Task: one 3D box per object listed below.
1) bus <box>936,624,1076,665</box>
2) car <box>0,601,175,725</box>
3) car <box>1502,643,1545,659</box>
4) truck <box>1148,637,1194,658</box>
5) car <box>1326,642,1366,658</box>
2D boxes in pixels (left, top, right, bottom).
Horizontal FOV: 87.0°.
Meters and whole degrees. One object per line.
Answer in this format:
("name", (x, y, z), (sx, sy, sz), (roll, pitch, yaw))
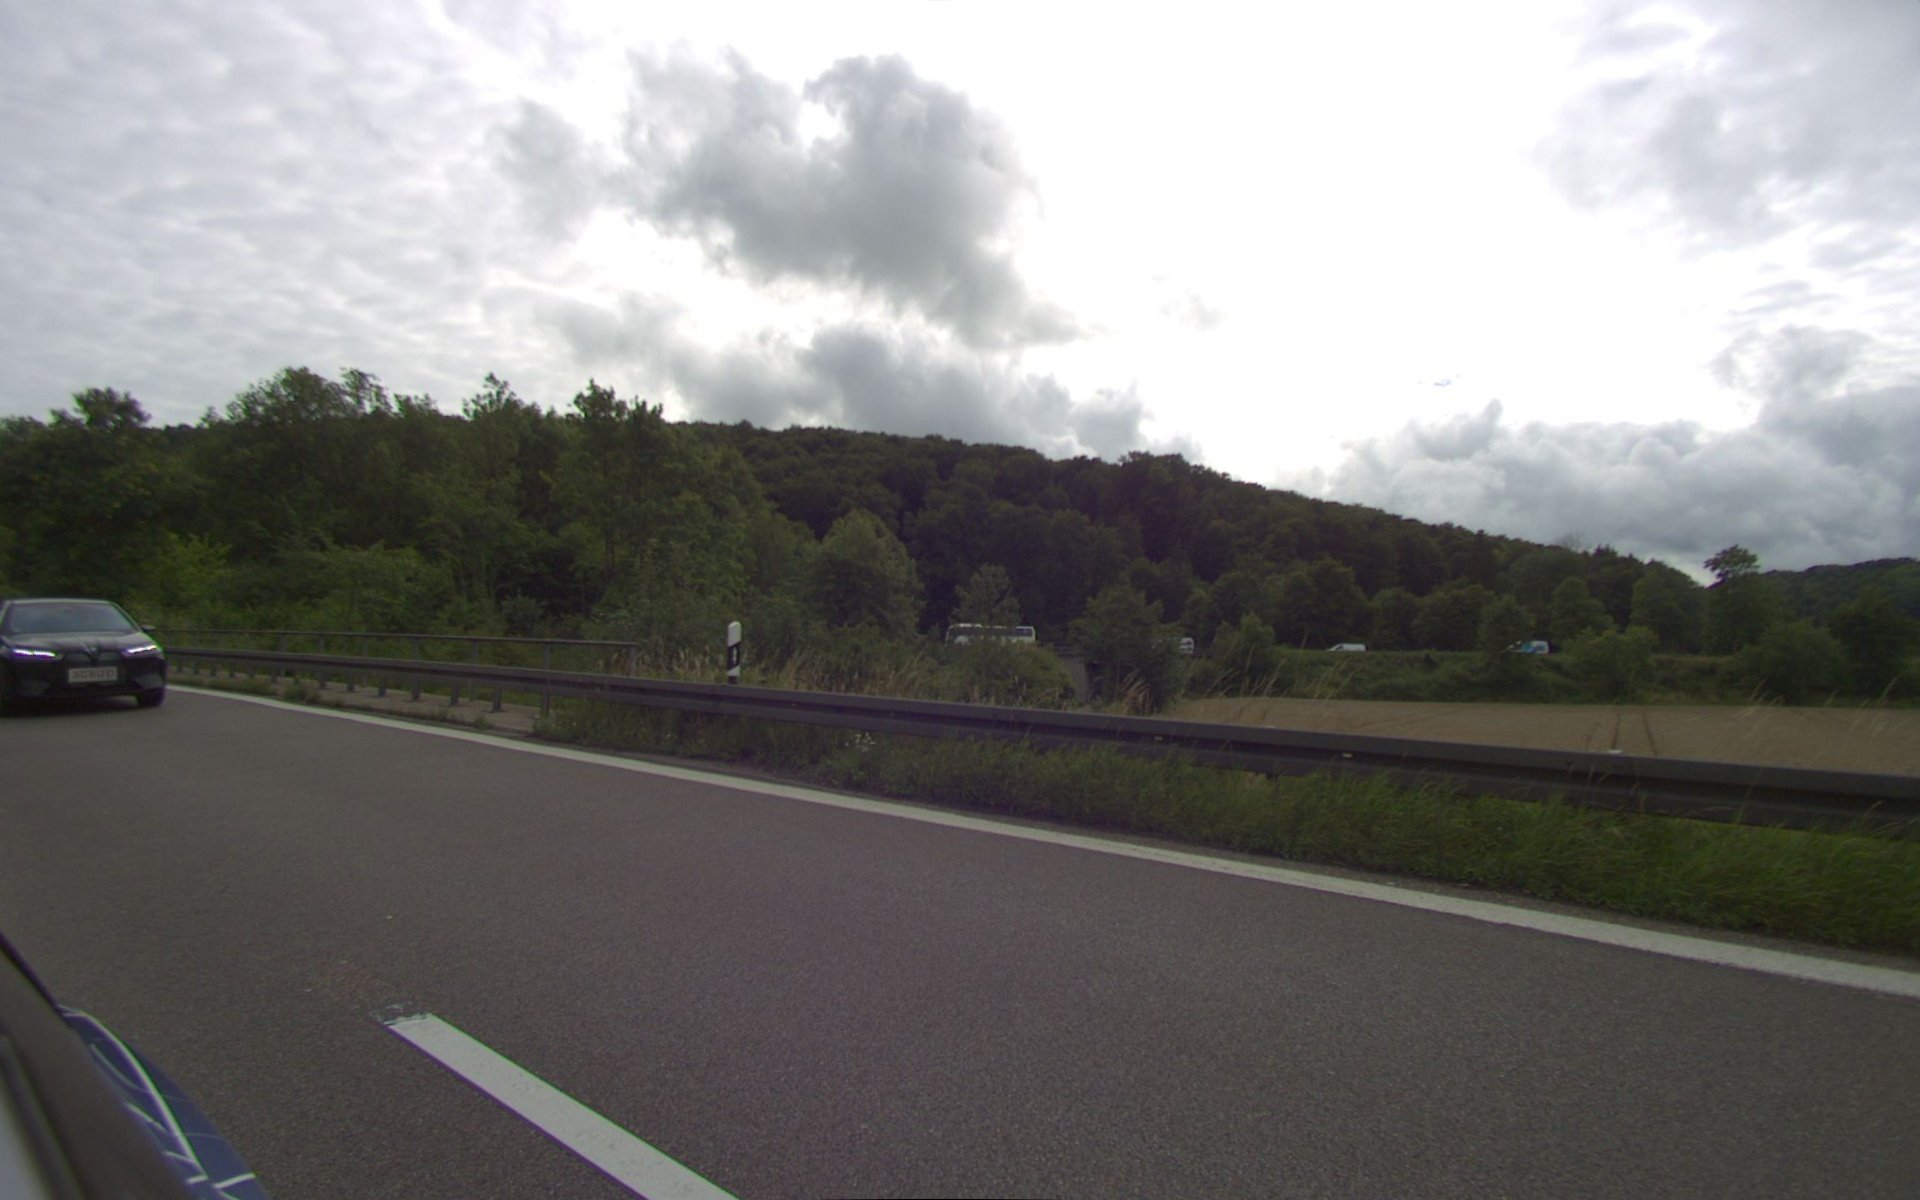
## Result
("bus", (5.996, 5.942, 133.688), (18.062, 4.977, 5.578), (1, -3, 2))
("car", (-14.141, 0.910, 15.918), (4.411, 1.678, 1.973), (-2, -1, 40))
("car", (73.691, 6.713, 132.343), (4.395, 1.822, 2.000), (3, -4, -1))
("truck", (28.276, 6.414, 135.608), (5.653, 2.485, 2.363), (3, -4, 0))
("car", (50.383, 6.542, 132.283), (4.396, 1.822, 2.000), (3, -4, 0))
